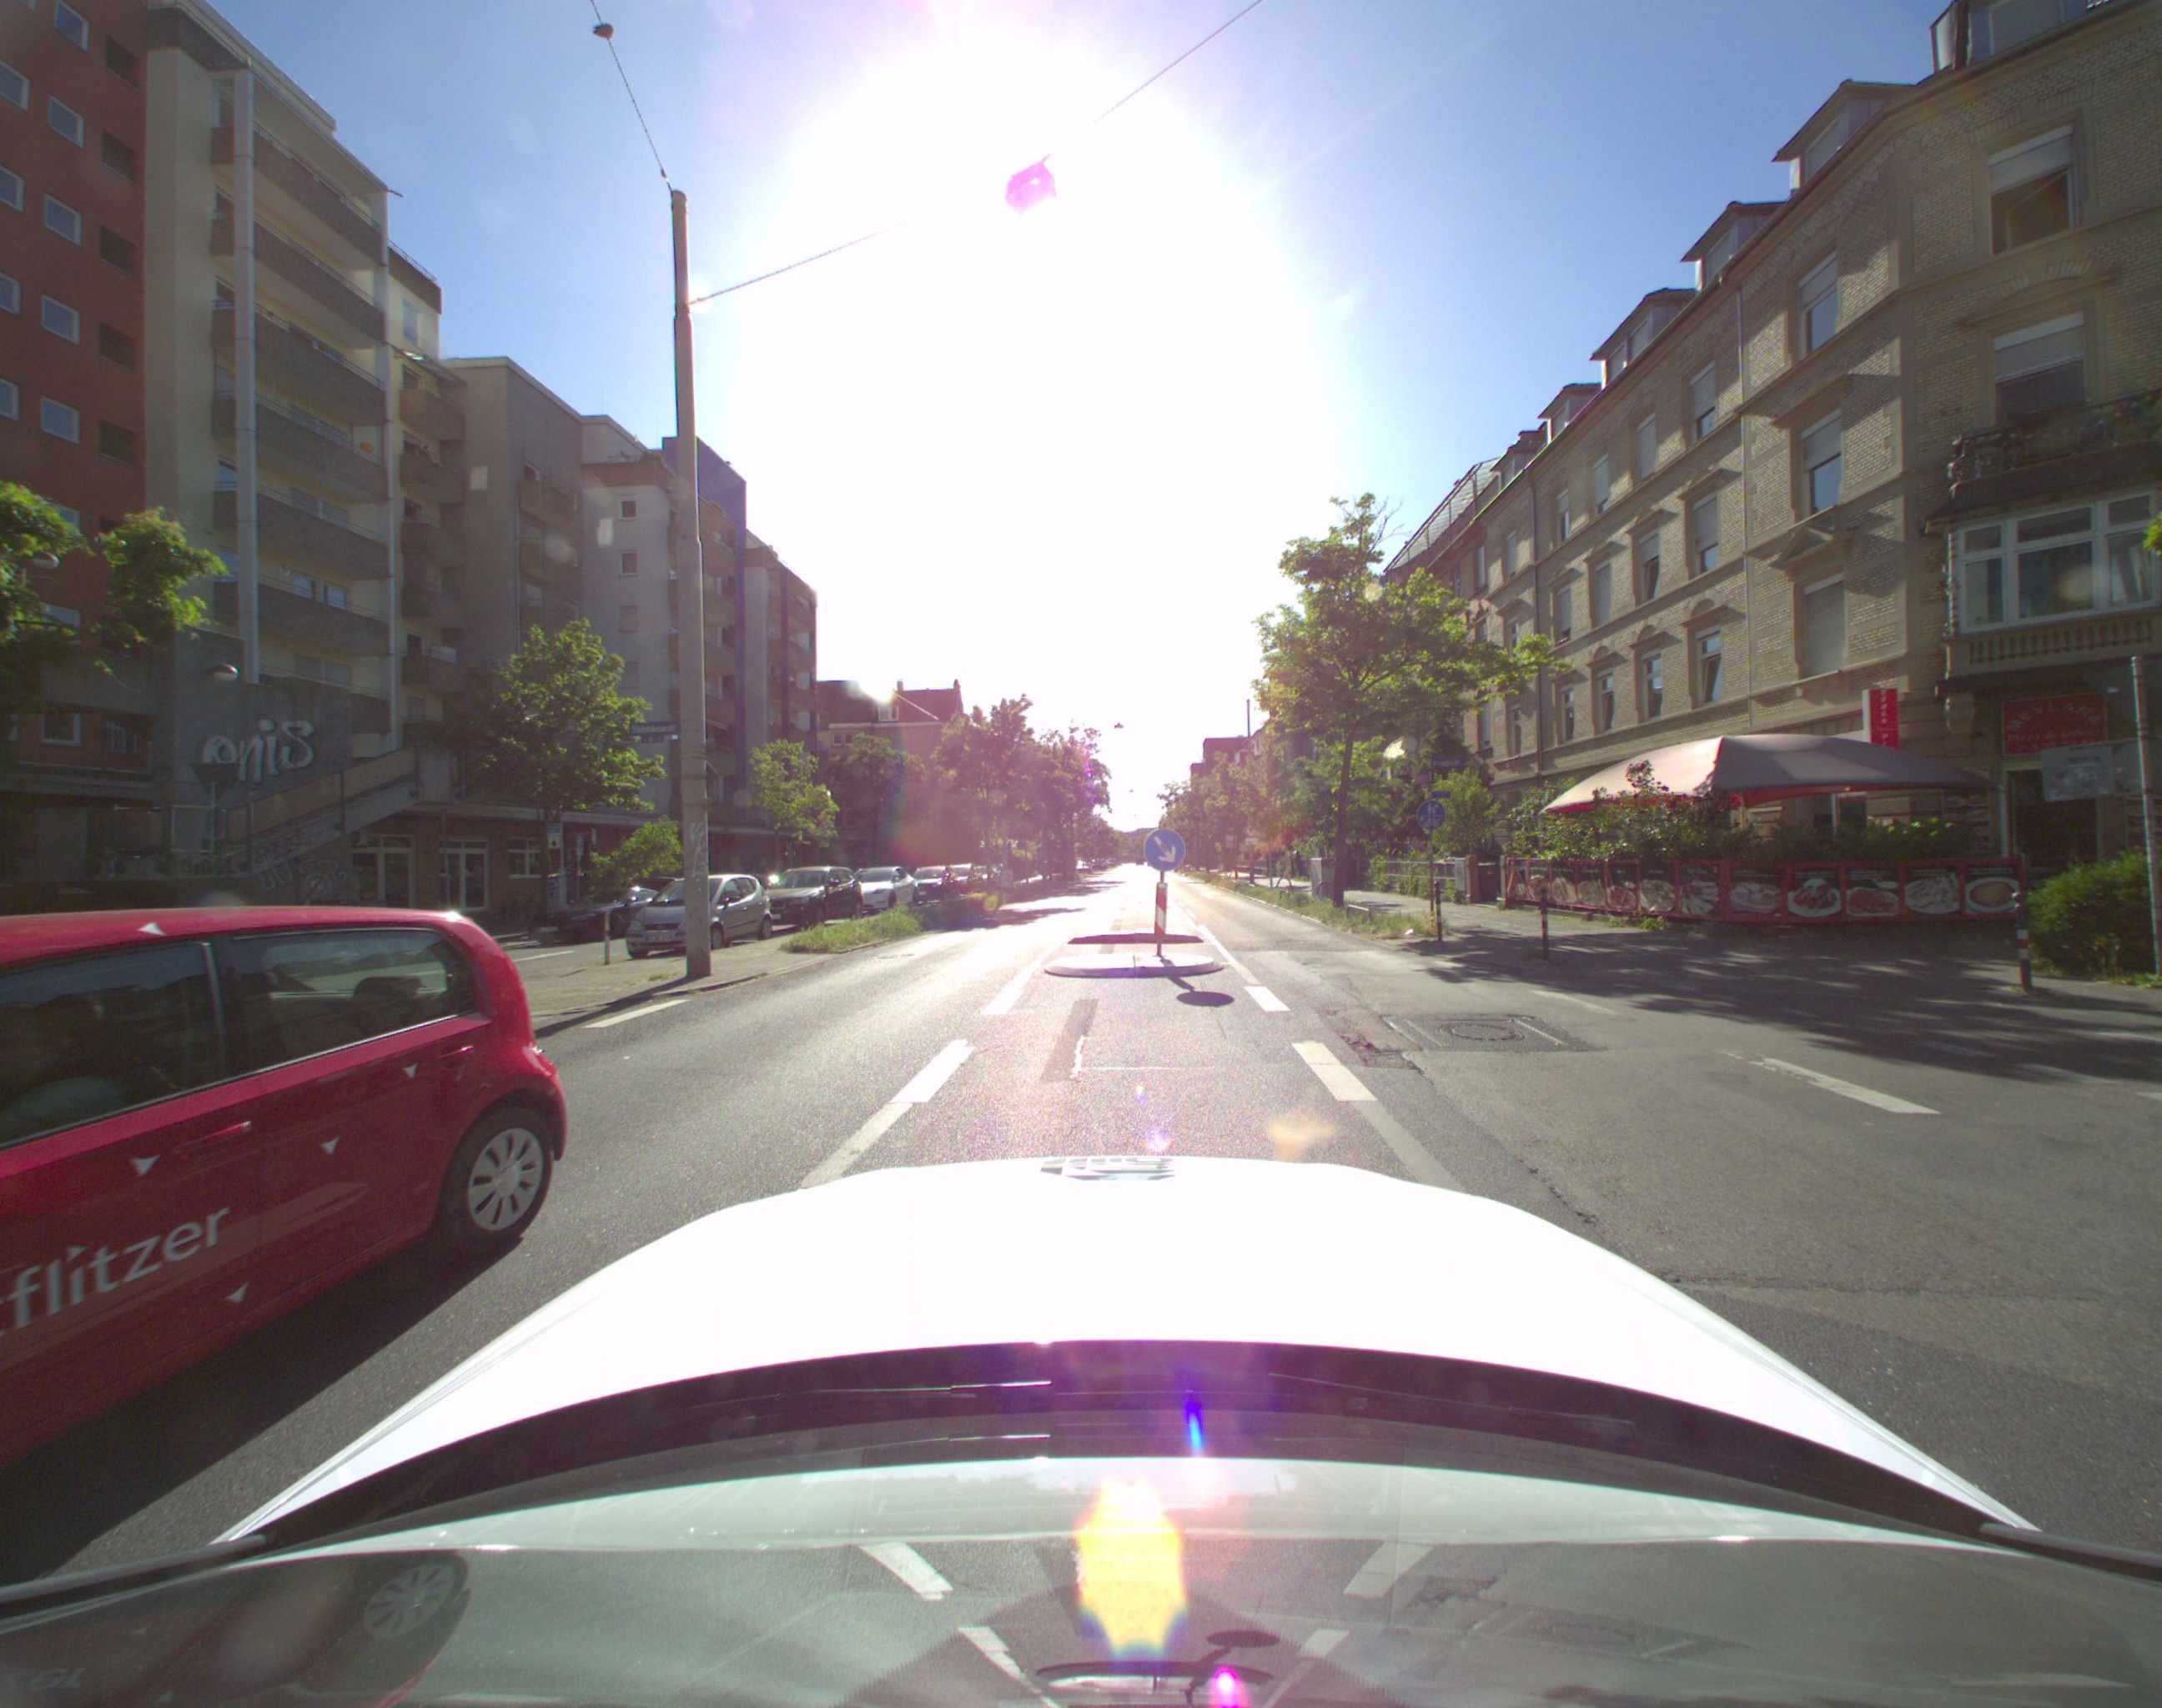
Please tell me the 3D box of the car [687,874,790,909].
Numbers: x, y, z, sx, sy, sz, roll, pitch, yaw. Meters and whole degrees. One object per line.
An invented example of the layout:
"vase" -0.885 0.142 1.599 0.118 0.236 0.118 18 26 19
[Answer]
"car" -15.702 1.719 37.474 3.974 1.424 1.687 -1 -1 0

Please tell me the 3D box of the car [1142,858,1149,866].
"car" 15.254 1.882 192.517 1.750 1.783 4.005 -2 0 5

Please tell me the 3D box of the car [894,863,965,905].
"car" -6.443 1.240 35.042 1.853 1.587 4.007 -3 0 6

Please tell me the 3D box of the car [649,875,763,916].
"car" -16.030 1.753 34.909 3.974 1.607 1.841 -1 -1 0

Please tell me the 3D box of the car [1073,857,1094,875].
"car" 0.368 1.412 96.387 1.983 2.014 4.213 -2 0 6

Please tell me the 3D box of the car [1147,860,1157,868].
"car" 15.715 2.159 180.306 1.942 1.708 4.005 -2 0 5

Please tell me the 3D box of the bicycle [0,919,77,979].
"bicycle" -19.309 1.706 14.628 1.793 1.001 0.484 -1 0 -5

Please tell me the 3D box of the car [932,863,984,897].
"car" -6.126 1.288 41.036 1.744 1.553 4.004 -2 0 4

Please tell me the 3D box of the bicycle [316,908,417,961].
"bicycle" -16.215 1.810 18.537 0.411 1.001 1.809 1 0 14

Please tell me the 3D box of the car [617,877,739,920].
"car" -16.085 1.761 32.634 3.974 1.551 1.770 -1 -1 0

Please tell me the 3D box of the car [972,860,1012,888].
"car" -5.563 1.217 51.401 1.755 1.646 4.004 -2 -1 4

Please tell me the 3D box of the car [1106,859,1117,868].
"car" 6.418 2.019 172.903 1.983 1.695 4.007 -2 0 6

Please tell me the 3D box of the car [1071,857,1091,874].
"car" 0.064 1.453 100.903 1.983 2.014 4.212 -2 0 6

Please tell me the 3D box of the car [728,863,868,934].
"car" -7.526 1.111 22.189 1.859 1.627 4.510 -2 0 5

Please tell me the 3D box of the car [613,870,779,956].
"car" -7.970 1.154 17.235 1.713 1.518 3.532 -2 0 1

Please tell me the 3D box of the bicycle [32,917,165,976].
"bicycle" -18.578 1.736 15.425 1.617 1.001 0.413 0 0 -20

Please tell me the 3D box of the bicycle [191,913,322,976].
"bicycle" -16.400 1.770 16.265 0.410 1.031 1.811 1 0 20

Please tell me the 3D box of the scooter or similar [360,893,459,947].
"scooter or similar" -17.240 1.684 20.923 1.961 1.277 0.630 -2 0 -2

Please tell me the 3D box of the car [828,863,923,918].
"car" -7.112 1.204 28.713 1.880 1.662 4.534 -3 -1 3

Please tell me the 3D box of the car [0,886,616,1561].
"car" -3.228 0.891 2.282 1.644 1.428 3.510 -2 0 3

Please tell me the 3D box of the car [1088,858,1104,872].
"car" 2.306 1.659 123.235 2.051 2.014 4.636 -2 0 6

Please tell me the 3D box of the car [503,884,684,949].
"car" -13.266 1.647 22.563 1.881 1.398 4.537 -2 0 6

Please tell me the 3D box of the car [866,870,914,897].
"car" -11.525 1.746 49.405 1.679 1.469 4.004 -2 0 4

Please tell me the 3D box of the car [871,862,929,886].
"car" -13.824 1.515 62.298 3.973 1.769 1.886 -1 -1 0

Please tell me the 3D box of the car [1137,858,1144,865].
"car" 15.339 1.872 210.134 1.750 1.783 4.005 -2 0 5

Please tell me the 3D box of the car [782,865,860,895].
"car" -15.247 1.511 47.869 3.974 1.629 1.687 -1 -1 0

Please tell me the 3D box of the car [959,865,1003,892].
"car" -5.656 1.383 46.682 1.747 1.398 4.004 -2 0 4

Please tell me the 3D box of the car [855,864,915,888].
"car" -14.470 1.606 60.256 3.974 1.629 1.687 -1 -1 0

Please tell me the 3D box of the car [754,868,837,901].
"car" -15.832 1.679 45.270 3.974 1.629 1.687 -1 -1 0

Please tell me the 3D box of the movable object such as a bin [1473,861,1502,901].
"movable object such as a bin" 11.719 0.777 23.477 0.566 1.133 0.552 -2 -1 4
